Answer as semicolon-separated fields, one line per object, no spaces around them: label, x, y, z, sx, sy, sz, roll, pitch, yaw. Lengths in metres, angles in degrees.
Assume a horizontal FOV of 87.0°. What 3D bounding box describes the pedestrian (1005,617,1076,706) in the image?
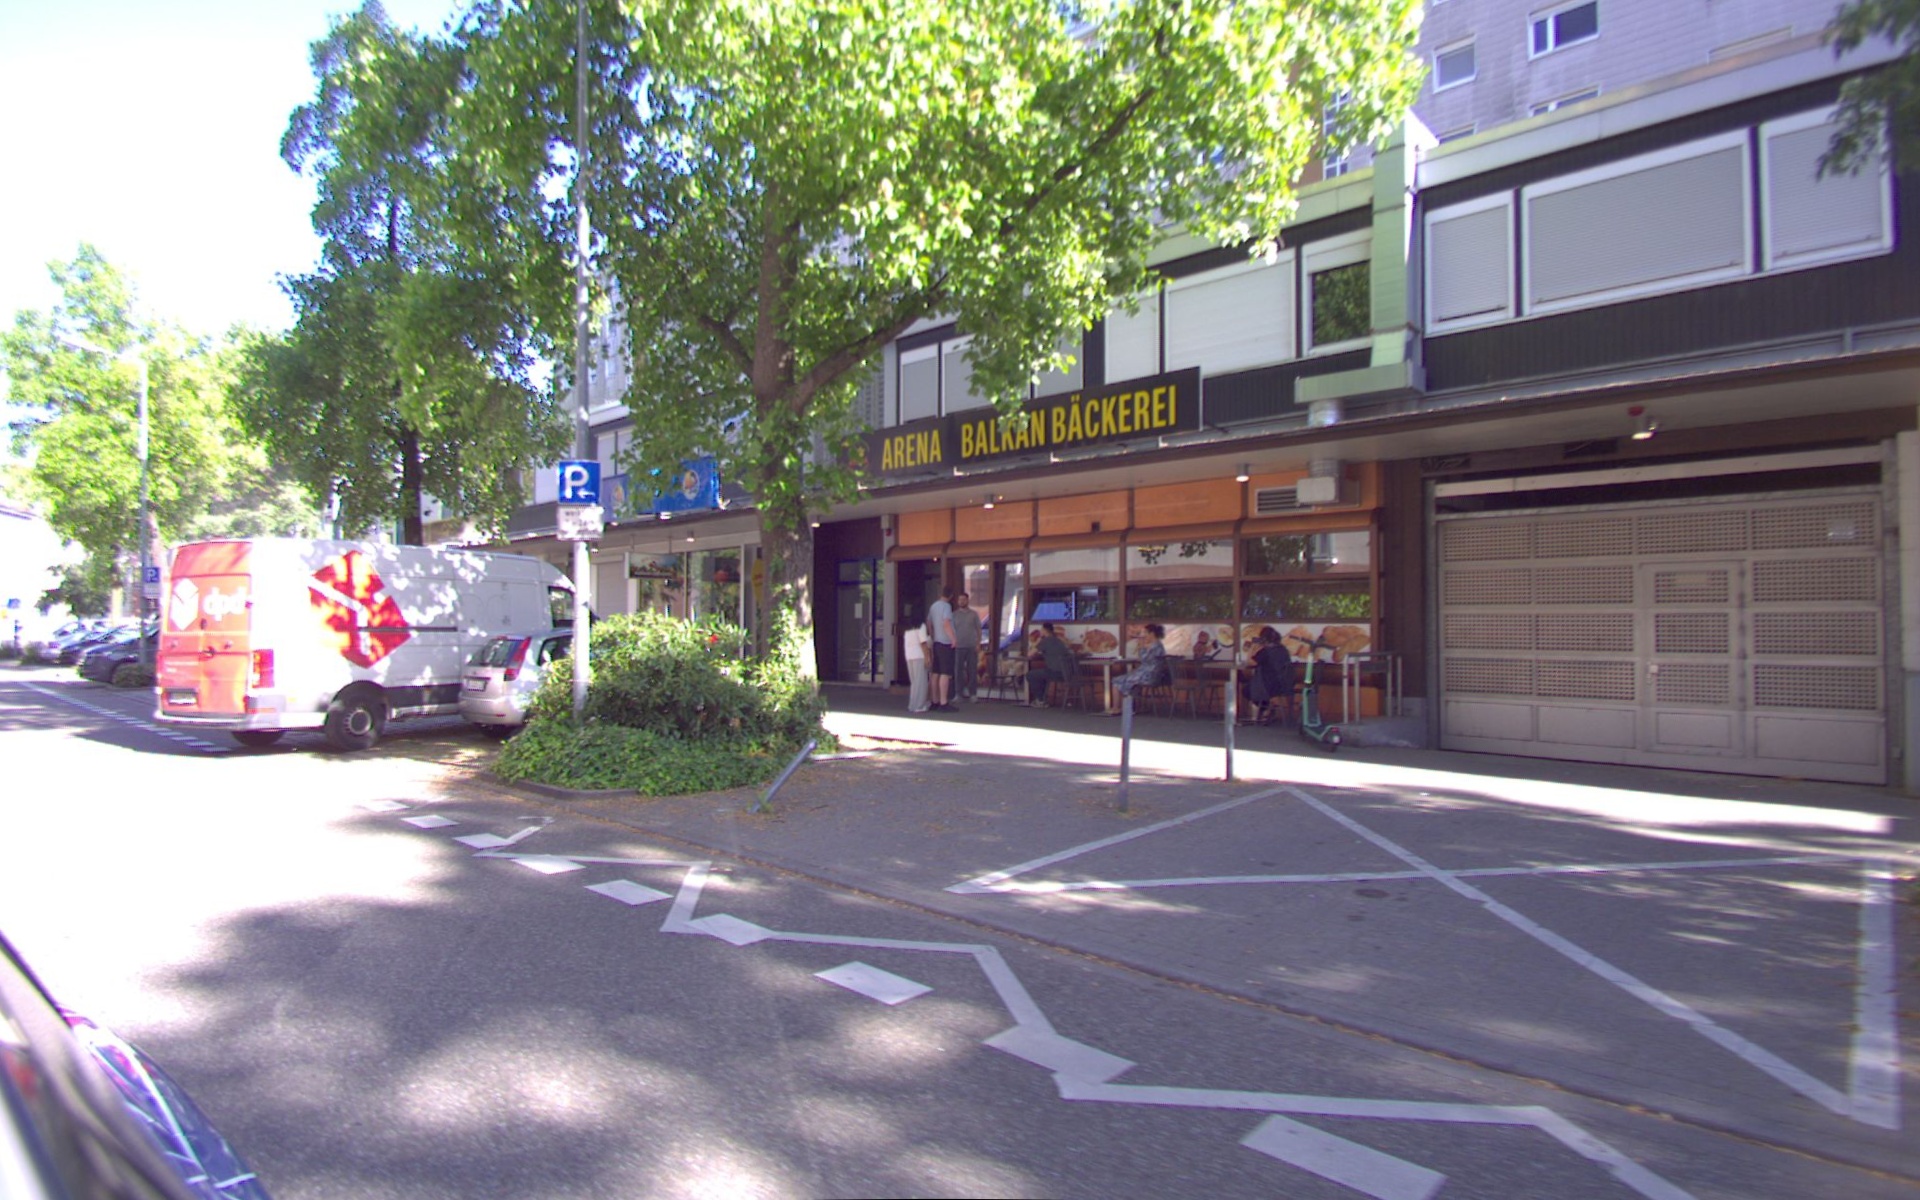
pedestrian;1.258;0.948;15.894;0.953;1.351;0.557;-2;-2;41

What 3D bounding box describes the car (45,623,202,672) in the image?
car;-34.225;1.885;41.509;1.873;1.790;4.719;-2;-1;41

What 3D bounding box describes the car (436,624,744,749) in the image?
car;-4.985;1.075;13.915;1.831;1.431;3.555;-2;-2;42

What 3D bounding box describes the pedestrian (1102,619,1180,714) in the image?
pedestrian;2.531;0.907;14.172;0.898;1.273;0.602;-2;-2;40

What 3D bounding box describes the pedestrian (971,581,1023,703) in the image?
pedestrian;0.598;0.675;16.374;0.579;1.918;0.588;-2;-2;41

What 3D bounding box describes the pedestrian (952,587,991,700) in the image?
pedestrian;0.202;0.741;17.455;0.492;1.918;0.448;-2;-2;41

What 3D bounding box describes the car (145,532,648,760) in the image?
car;-7.411;0.605;14.514;1.986;2.493;6.556;-1;-2;21

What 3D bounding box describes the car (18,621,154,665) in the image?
car;-43.253;2.094;50.184;1.909;1.984;4.931;-2;-1;41

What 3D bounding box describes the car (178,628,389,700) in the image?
car;-15.993;1.453;24.043;1.709;1.462;3.876;-2;-1;42

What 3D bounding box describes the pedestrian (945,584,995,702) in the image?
pedestrian;0.165;0.705;16.765;0.579;1.918;0.588;-2;-2;41

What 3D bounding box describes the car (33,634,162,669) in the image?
car;-36.533;2.154;42.943;1.759;1.409;3.945;-2;-2;41

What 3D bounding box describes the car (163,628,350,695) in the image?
car;-17.865;1.509;25.811;1.611;1.461;3.629;-2;-1;39

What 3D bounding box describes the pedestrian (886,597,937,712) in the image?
pedestrian;-0.754;0.823;15.529;0.590;1.725;0.589;1;-2;-26

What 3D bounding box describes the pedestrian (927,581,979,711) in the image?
pedestrian;-0.113;0.701;15.576;0.590;1.950;0.589;1;-2;-26

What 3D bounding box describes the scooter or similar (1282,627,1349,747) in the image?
scooter or similar;3.963;0.935;11.344;0.452;1.232;1.314;-1;0;9

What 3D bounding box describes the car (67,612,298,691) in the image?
car;-22.057;1.389;28.881;1.872;1.953;4.977;-2;-1;42

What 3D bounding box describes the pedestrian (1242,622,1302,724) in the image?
pedestrian;3.907;0.901;12.683;0.636;1.250;0.324;-2;-2;40
